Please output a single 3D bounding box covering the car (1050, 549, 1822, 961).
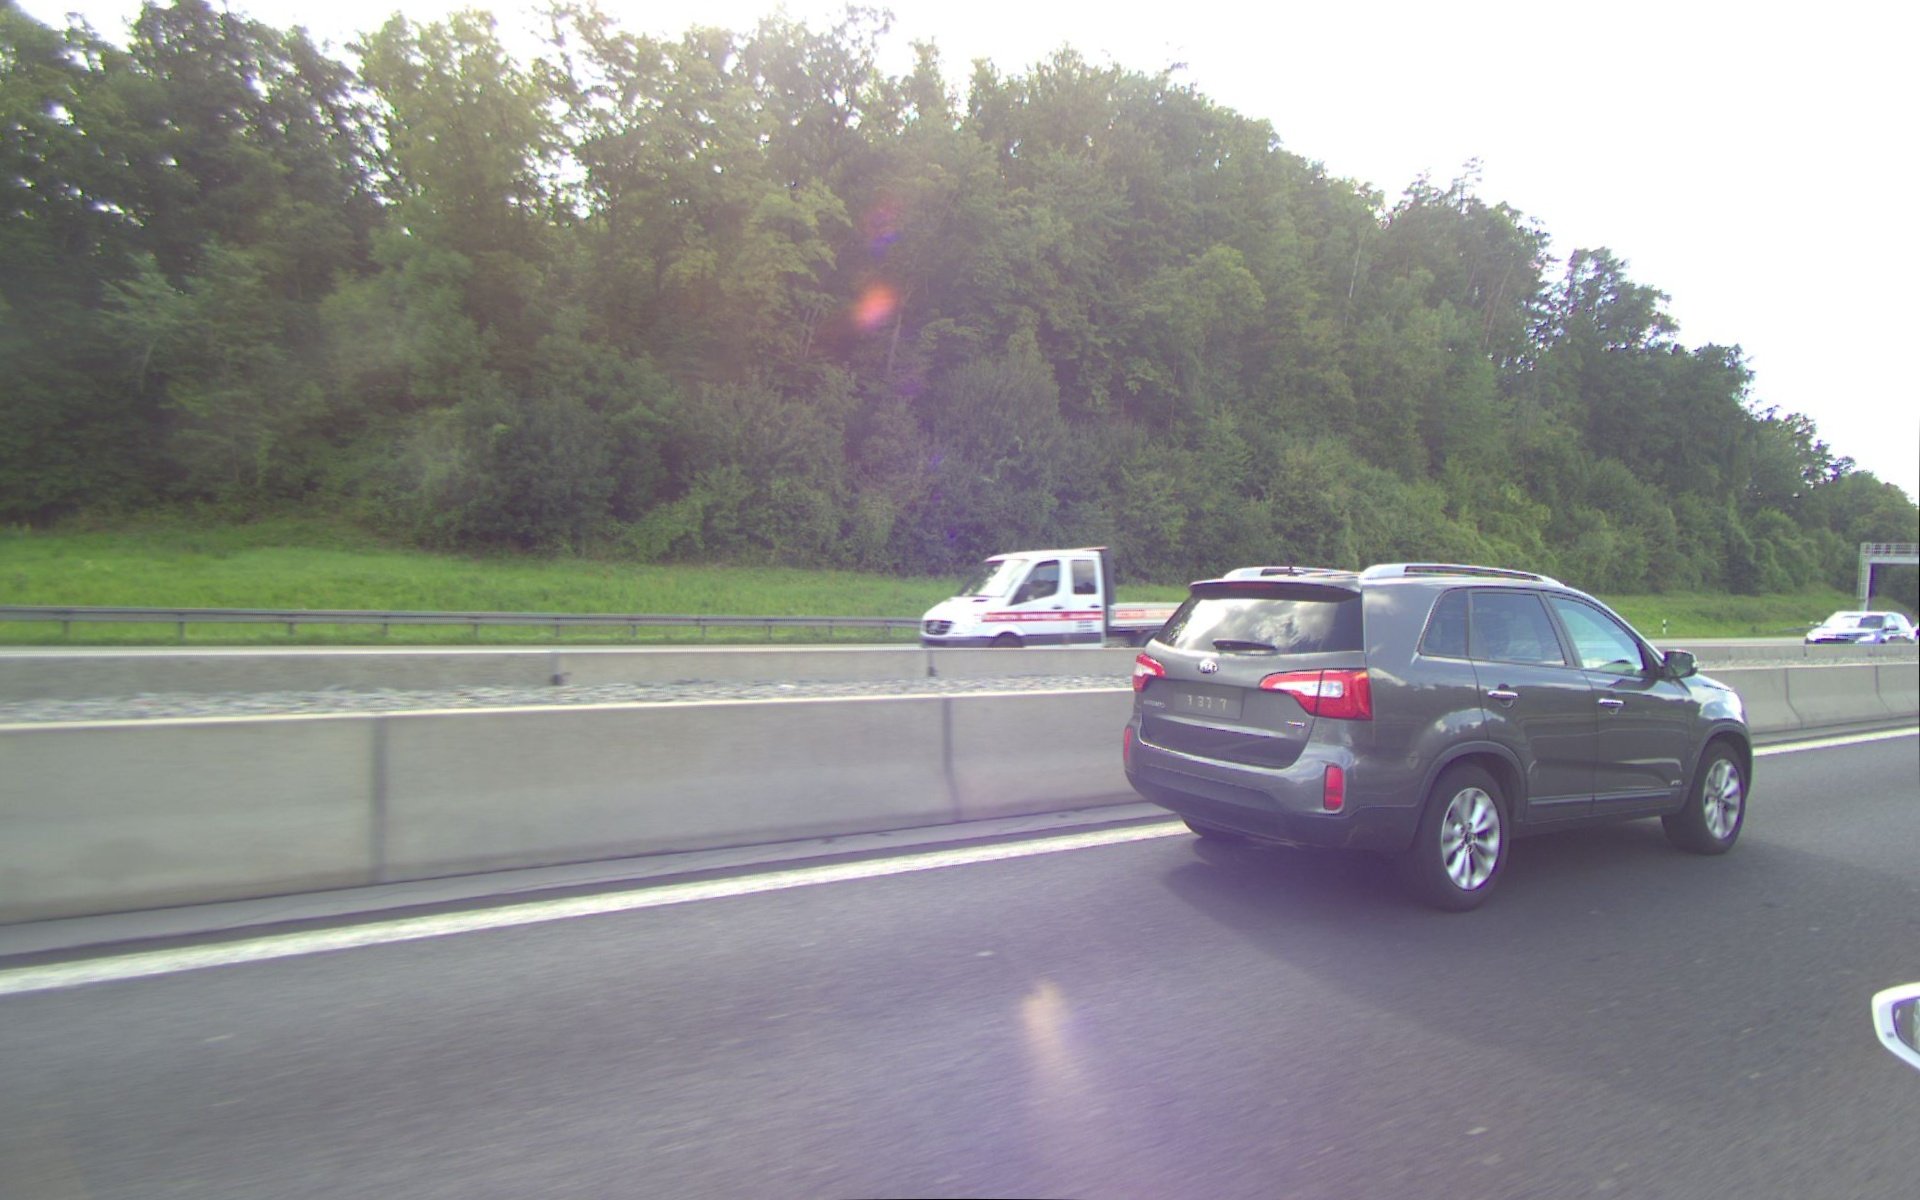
[{"bbox_3d":[3.197,0.692,6.359,5.125,1.759,1.809,1,0,-30],"label":"car"}]

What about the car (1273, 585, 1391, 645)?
[{"bbox_3d":[13.581,0.534,36.644,3.954,2.061,1.983,1,0,-31],"label":"car"}]

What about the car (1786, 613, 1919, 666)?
[{"bbox_3d":[29.094,1.239,32.328,5.891,1.530,1.973,1,0,-30],"label":"car"}]

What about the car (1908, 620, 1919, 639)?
[{"bbox_3d":[80.464,2.496,83.491,3.962,1.530,1.726,1,0,-36],"label":"car"}]

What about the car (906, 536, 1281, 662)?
[{"bbox_3d":[2.930,0.054,20.300,7.988,2.158,2.188,1,0,-33],"label":"car"}]
